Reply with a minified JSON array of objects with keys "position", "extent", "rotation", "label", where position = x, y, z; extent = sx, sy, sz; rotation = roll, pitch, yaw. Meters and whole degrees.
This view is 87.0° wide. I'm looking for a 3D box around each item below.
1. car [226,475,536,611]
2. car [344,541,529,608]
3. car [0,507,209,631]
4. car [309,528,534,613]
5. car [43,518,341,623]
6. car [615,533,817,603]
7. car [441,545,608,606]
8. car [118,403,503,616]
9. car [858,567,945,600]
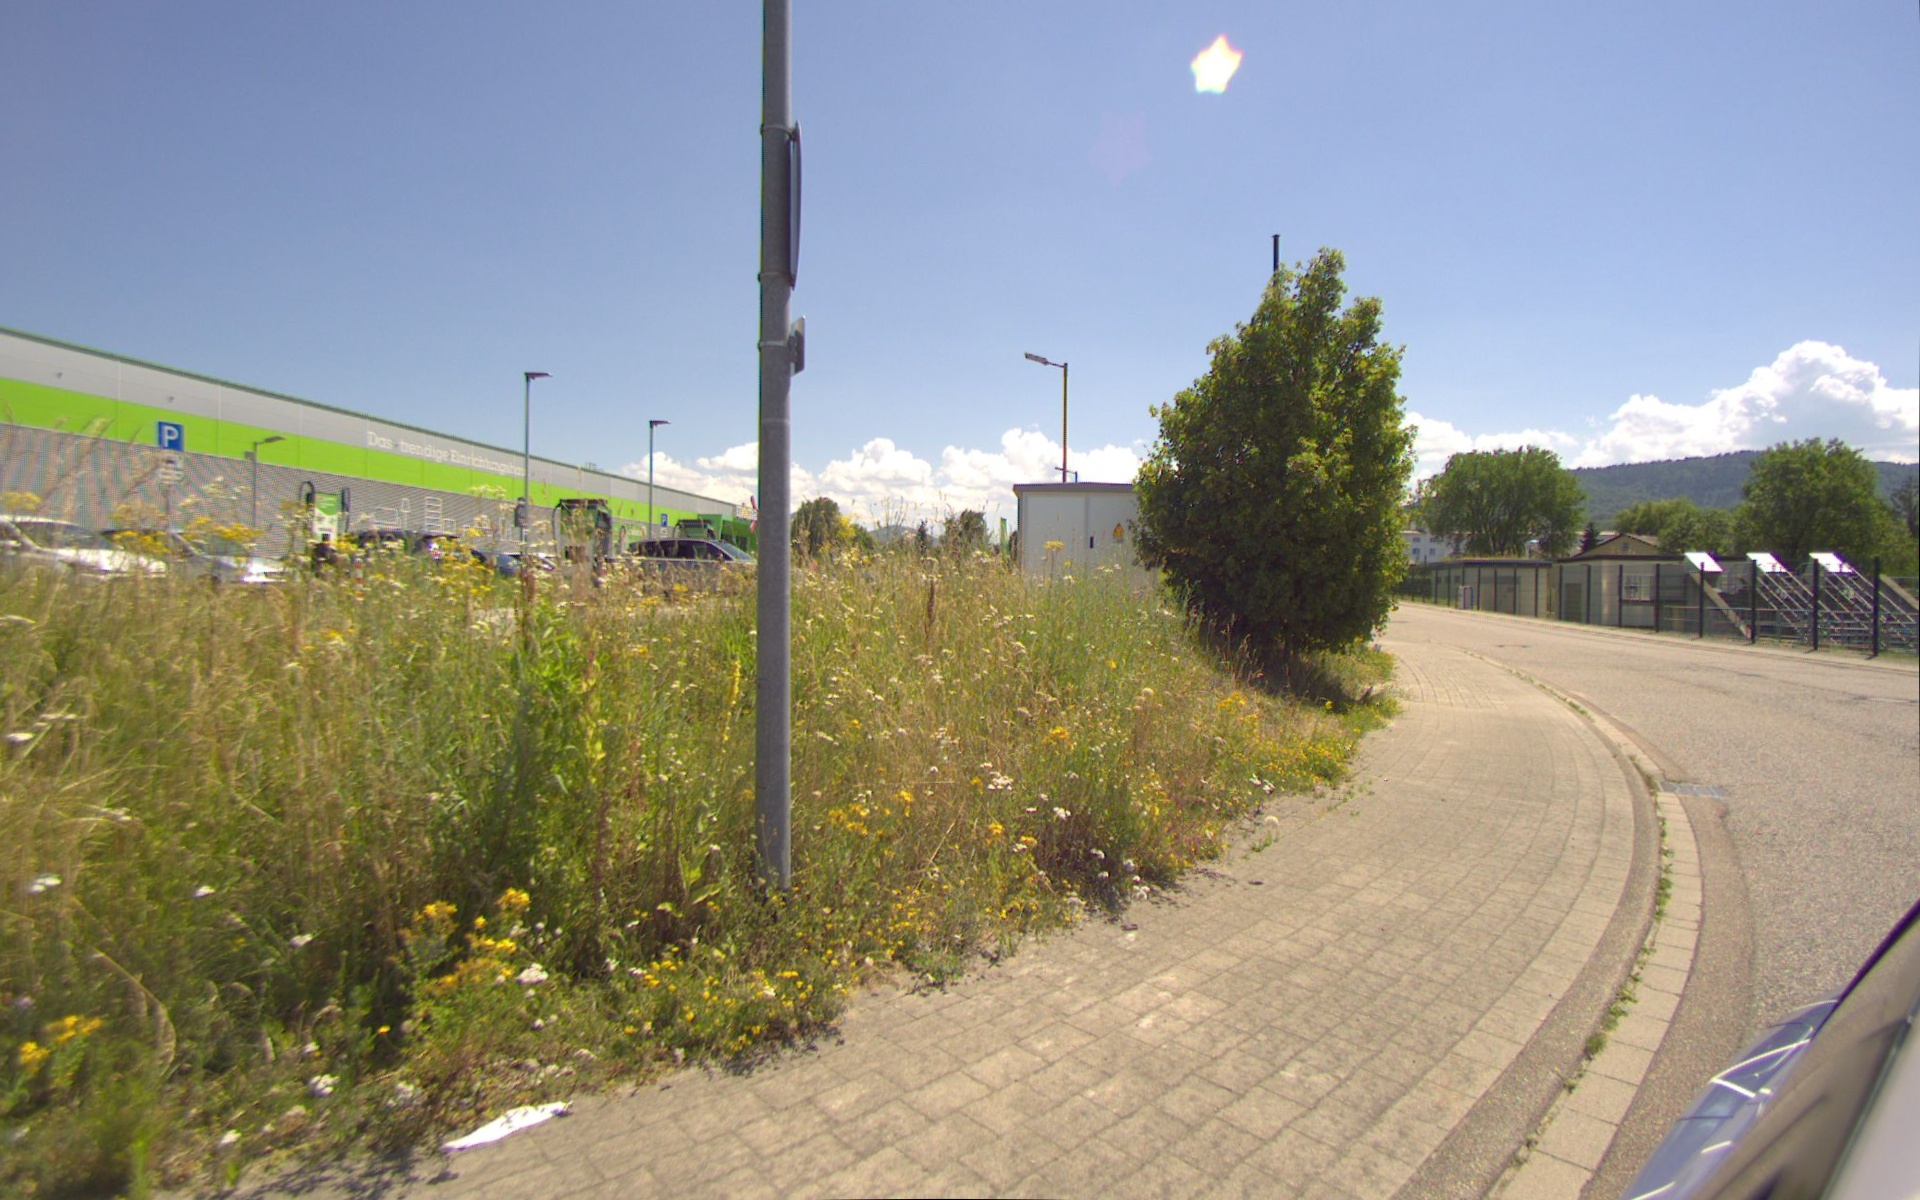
[{"position":[-9.835,-0.931,17.389],"extent":[4.324,2.172,1.951],"rotation":[0,1,6],"label":"car"},{"position":[-14.731,-0.703,28.603],"extent":[4.327,1.809,1.996],"rotation":[0,1,8],"label":"car"},{"position":[-14.656,-0.461,15.991],"extent":[4.324,1.809,1.951],"rotation":[0,1,6],"label":"car"},{"position":[-12.541,-0.662,23.696],"extent":[4.327,1.891,1.996],"rotation":[0,1,8],"label":"car"},{"position":[-14.134,-0.519,18.750],"extent":[4.327,1.809,1.935],"rotation":[0,1,8],"label":"car"},{"position":[-6.245,-0.796,26.080],"extent":[4.677,1.686,1.993],"rotation":[0,1,12],"label":"car"},{"position":[-13.357,-0.742,31.159],"extent":[4.327,1.809,1.996],"rotation":[0,1,8],"label":"car"},{"position":[-9.335,-1.199,14.691],"extent":[4.677,2.777,1.993],"rotation":[0,1,12],"label":"car"},{"position":[-3.100,-0.905,54.228],"extent":[4.327,1.555,1.996],"rotation":[2,1,8],"label":"car"}]
